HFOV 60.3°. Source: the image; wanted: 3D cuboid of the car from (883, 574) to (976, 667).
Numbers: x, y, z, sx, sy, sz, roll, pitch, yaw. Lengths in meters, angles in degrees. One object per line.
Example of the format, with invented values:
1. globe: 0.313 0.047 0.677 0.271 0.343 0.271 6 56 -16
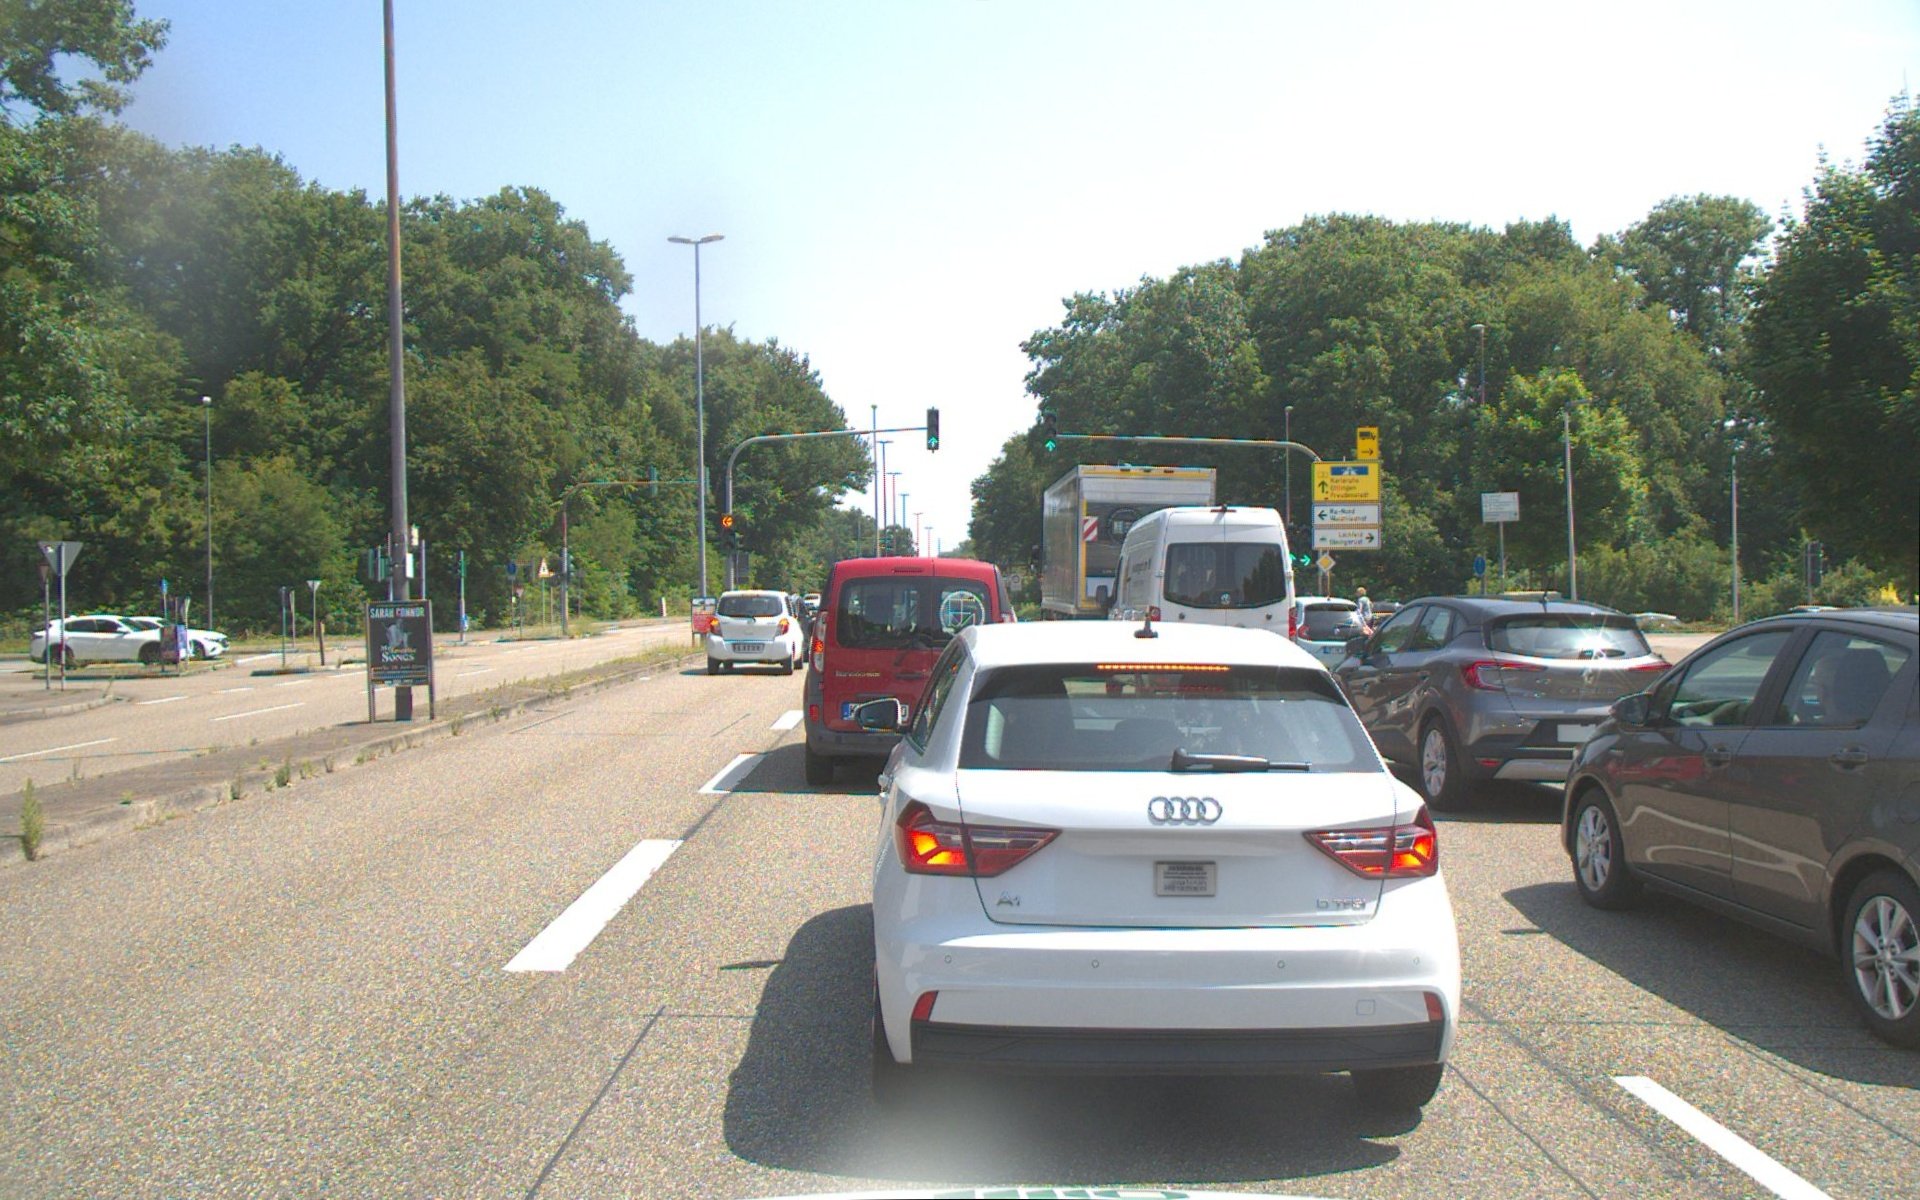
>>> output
1. car: -0.635 0.361 31.685 1.677 1.660 4.090 0 0 -3

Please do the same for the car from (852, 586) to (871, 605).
1. car: -10.211 -0.469 171.431 1.834 1.893 3.999 -1 0 -2

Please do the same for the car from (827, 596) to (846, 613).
1. car: -13.156 0.487 175.708 1.793 1.758 3.999 -1 0 -2

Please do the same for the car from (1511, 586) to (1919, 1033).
1. car: 4.022 0.739 7.196 1.678 1.504 4.090 3 0 -3

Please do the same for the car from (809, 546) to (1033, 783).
1. car: -0.380 0.479 14.518 1.677 1.779 4.090 0 0 -3

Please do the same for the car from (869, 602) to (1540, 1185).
1. car: 0.527 0.726 6.151 1.677 1.410 4.090 0 0 -3

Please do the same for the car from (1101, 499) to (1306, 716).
1. car: 3.241 0.081 22.996 1.990 2.690 4.843 0 0 -2

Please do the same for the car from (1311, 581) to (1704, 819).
1. car: 4.190 0.675 13.381 1.677 1.621 4.090 0 0 -3

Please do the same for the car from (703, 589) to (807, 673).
1. car: -3.899 0.548 31.994 1.677 1.519 4.090 0 0 -3

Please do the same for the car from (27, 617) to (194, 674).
1. car: -26.740 1.423 52.205 4.290 1.711 1.807 1 -1 -9

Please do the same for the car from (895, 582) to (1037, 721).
1. car: -0.007 0.612 21.880 1.677 1.660 4.090 0 0 -3

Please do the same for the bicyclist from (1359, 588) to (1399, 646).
1. bicyclist: 10.766 0.435 42.541 0.811 1.464 0.598 -1 0 -8

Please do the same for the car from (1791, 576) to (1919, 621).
1. car: 33.194 -0.074 60.815 4.381 1.557 1.797 -1 0 -2

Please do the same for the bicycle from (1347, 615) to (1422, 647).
1. bicycle: 10.914 0.792 42.561 1.787 0.779 0.599 -1 0 -9

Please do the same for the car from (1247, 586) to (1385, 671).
1. car: 6.958 0.513 32.708 1.677 1.573 4.090 0 0 -3

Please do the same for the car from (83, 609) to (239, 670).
1. car: -27.001 1.309 56.020 4.291 1.710 1.807 -4 0 -9

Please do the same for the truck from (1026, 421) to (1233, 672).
1. truck: 3.299 -0.991 35.675 3.026 4.511 11.577 1 0 -1

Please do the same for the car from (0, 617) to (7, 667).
1. car: -34.465 1.373 55.088 4.294 1.711 1.805 1 -1 -13
